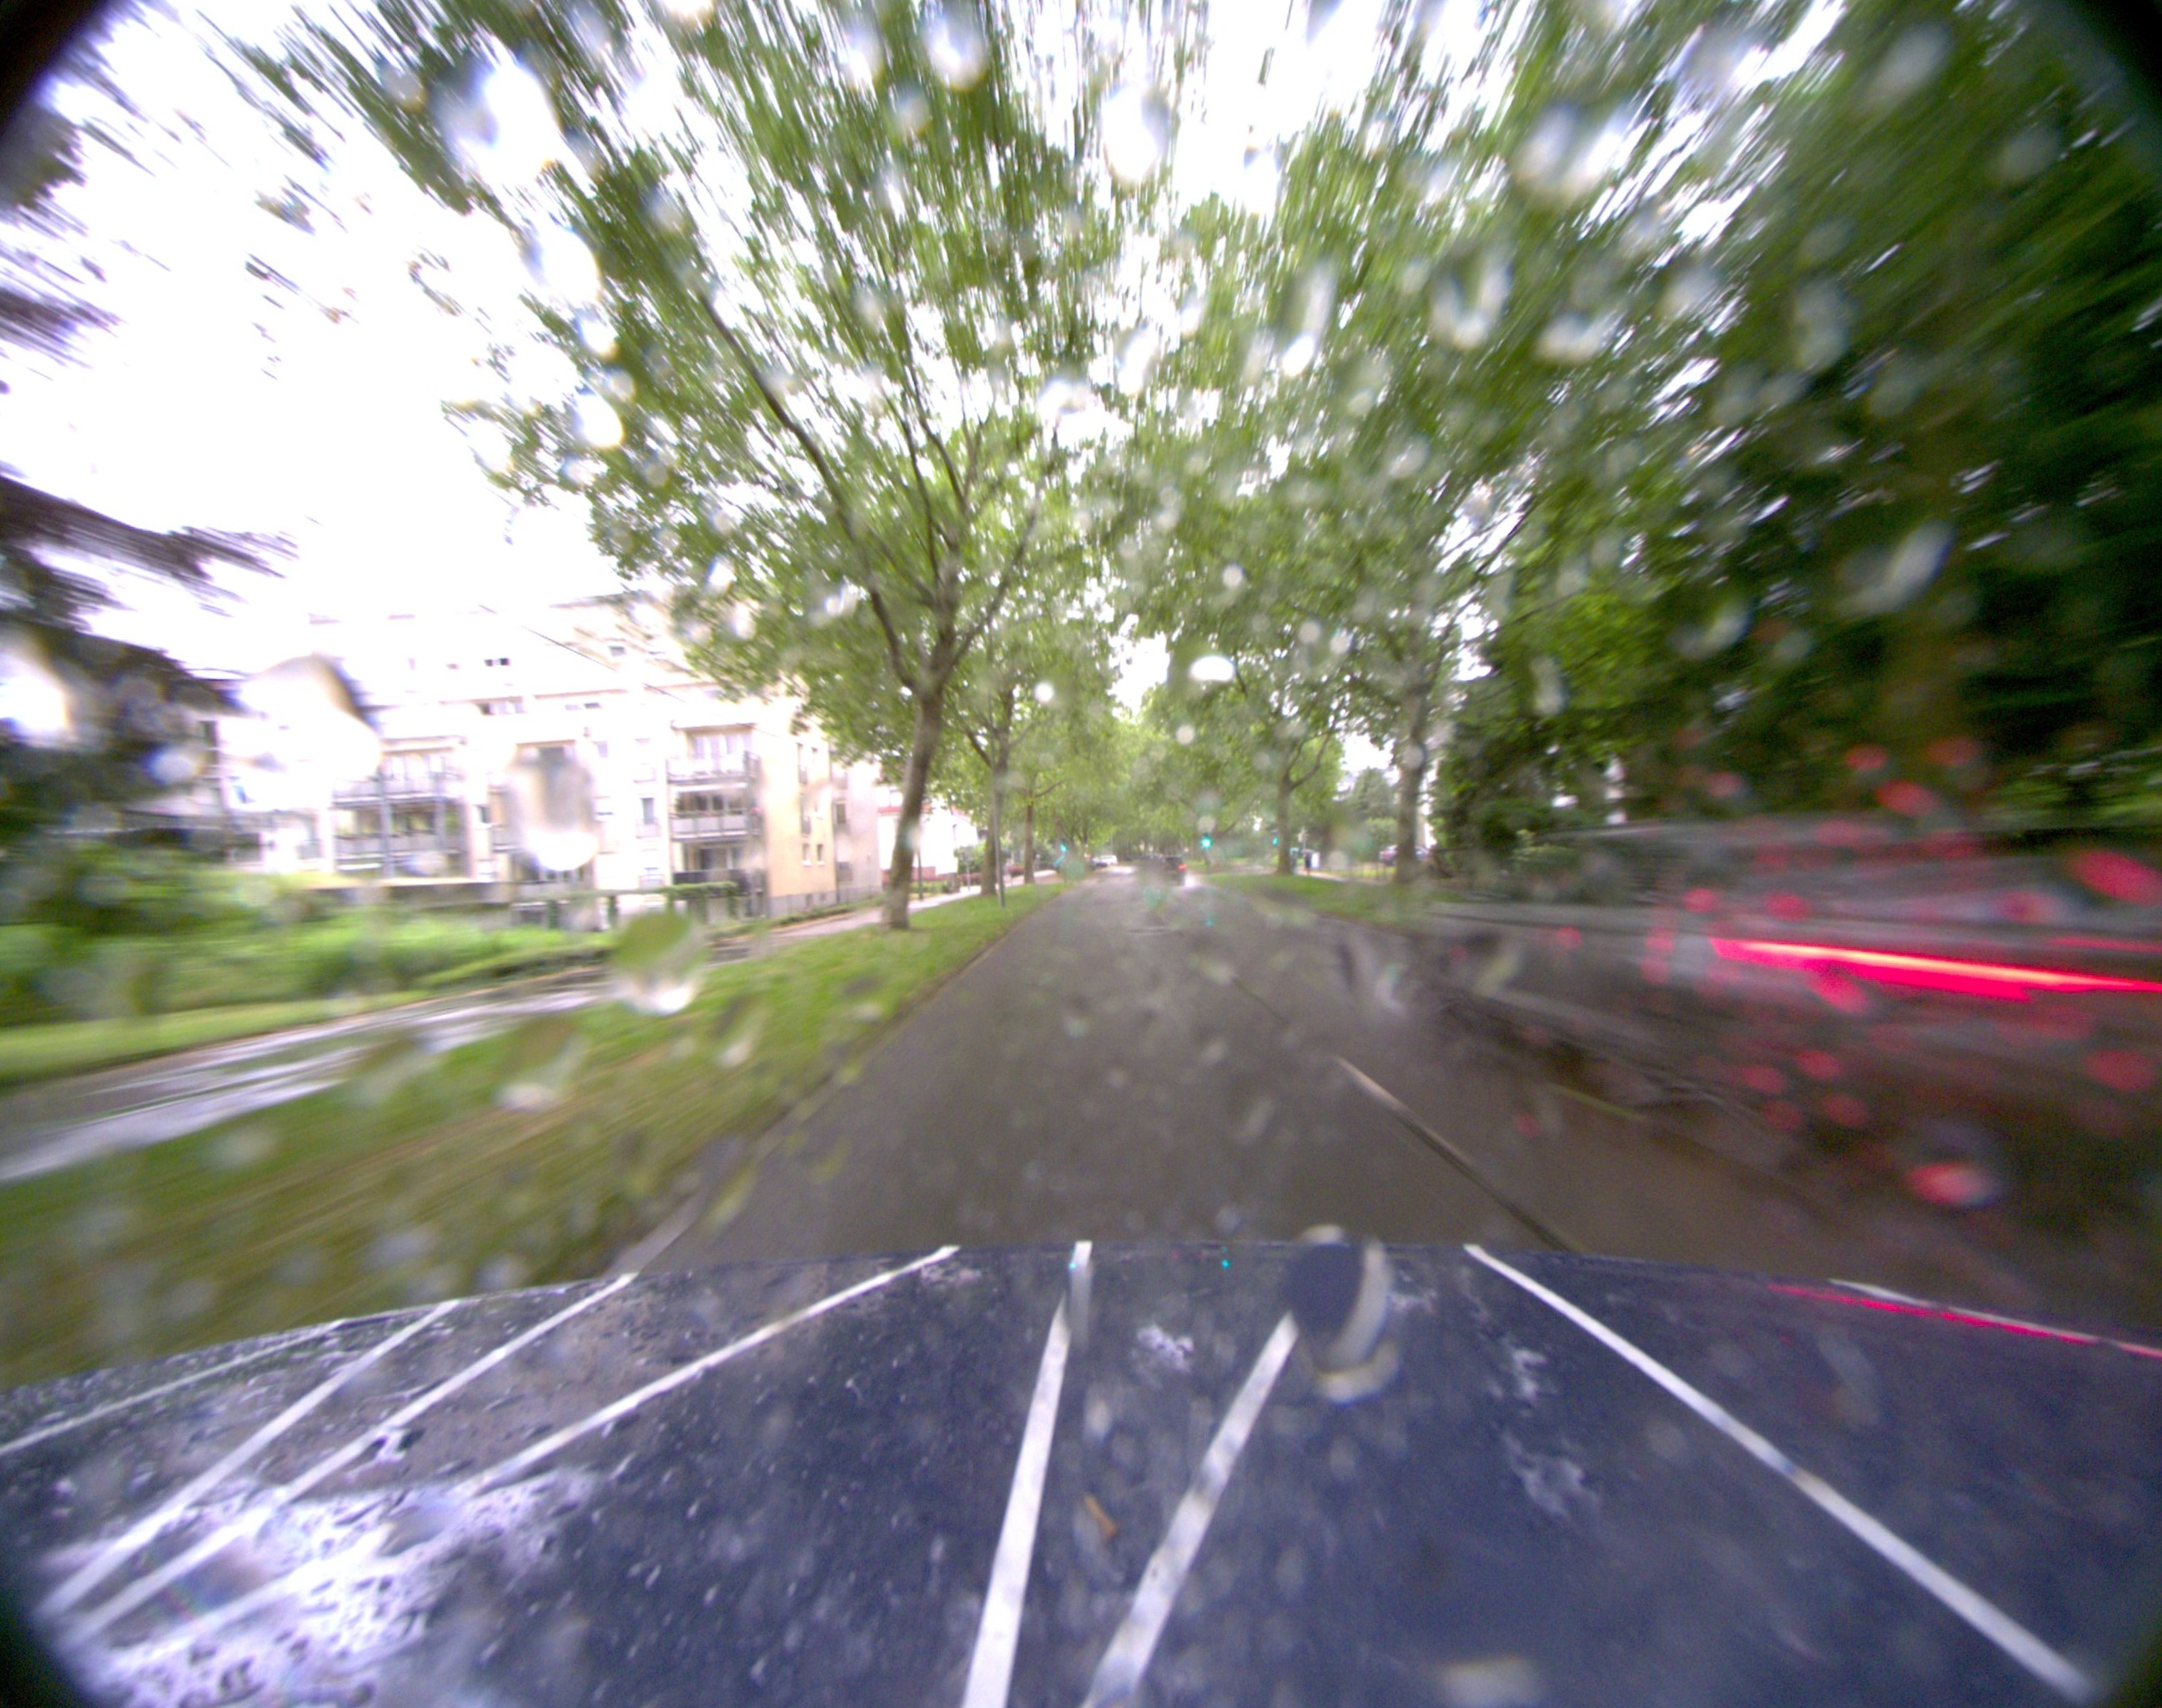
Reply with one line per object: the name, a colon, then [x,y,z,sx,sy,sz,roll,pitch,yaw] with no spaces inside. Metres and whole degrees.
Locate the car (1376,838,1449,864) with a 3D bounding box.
car: [25.298,-0.228,58.116,4.714,1.677,2.001,-3,0,10]

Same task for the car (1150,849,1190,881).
car: [4.992,0.583,43.174,1.822,1.645,4.774,-3,0,3]

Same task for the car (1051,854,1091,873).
car: [-1.093,1.069,85.486,4.262,1.845,1.892,-3,0,0]

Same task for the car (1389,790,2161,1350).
car: [3.687,0.636,4.585,1.813,1.718,4.454,-3,0,1]

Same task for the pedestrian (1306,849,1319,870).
pedestrian: [14.039,0.322,46.133,0.517,1.254,0.849,-3,1,3]

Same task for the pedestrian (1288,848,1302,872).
pedestrian: [13.012,0.352,46.195,0.599,1.445,0.857,-3,1,3]
